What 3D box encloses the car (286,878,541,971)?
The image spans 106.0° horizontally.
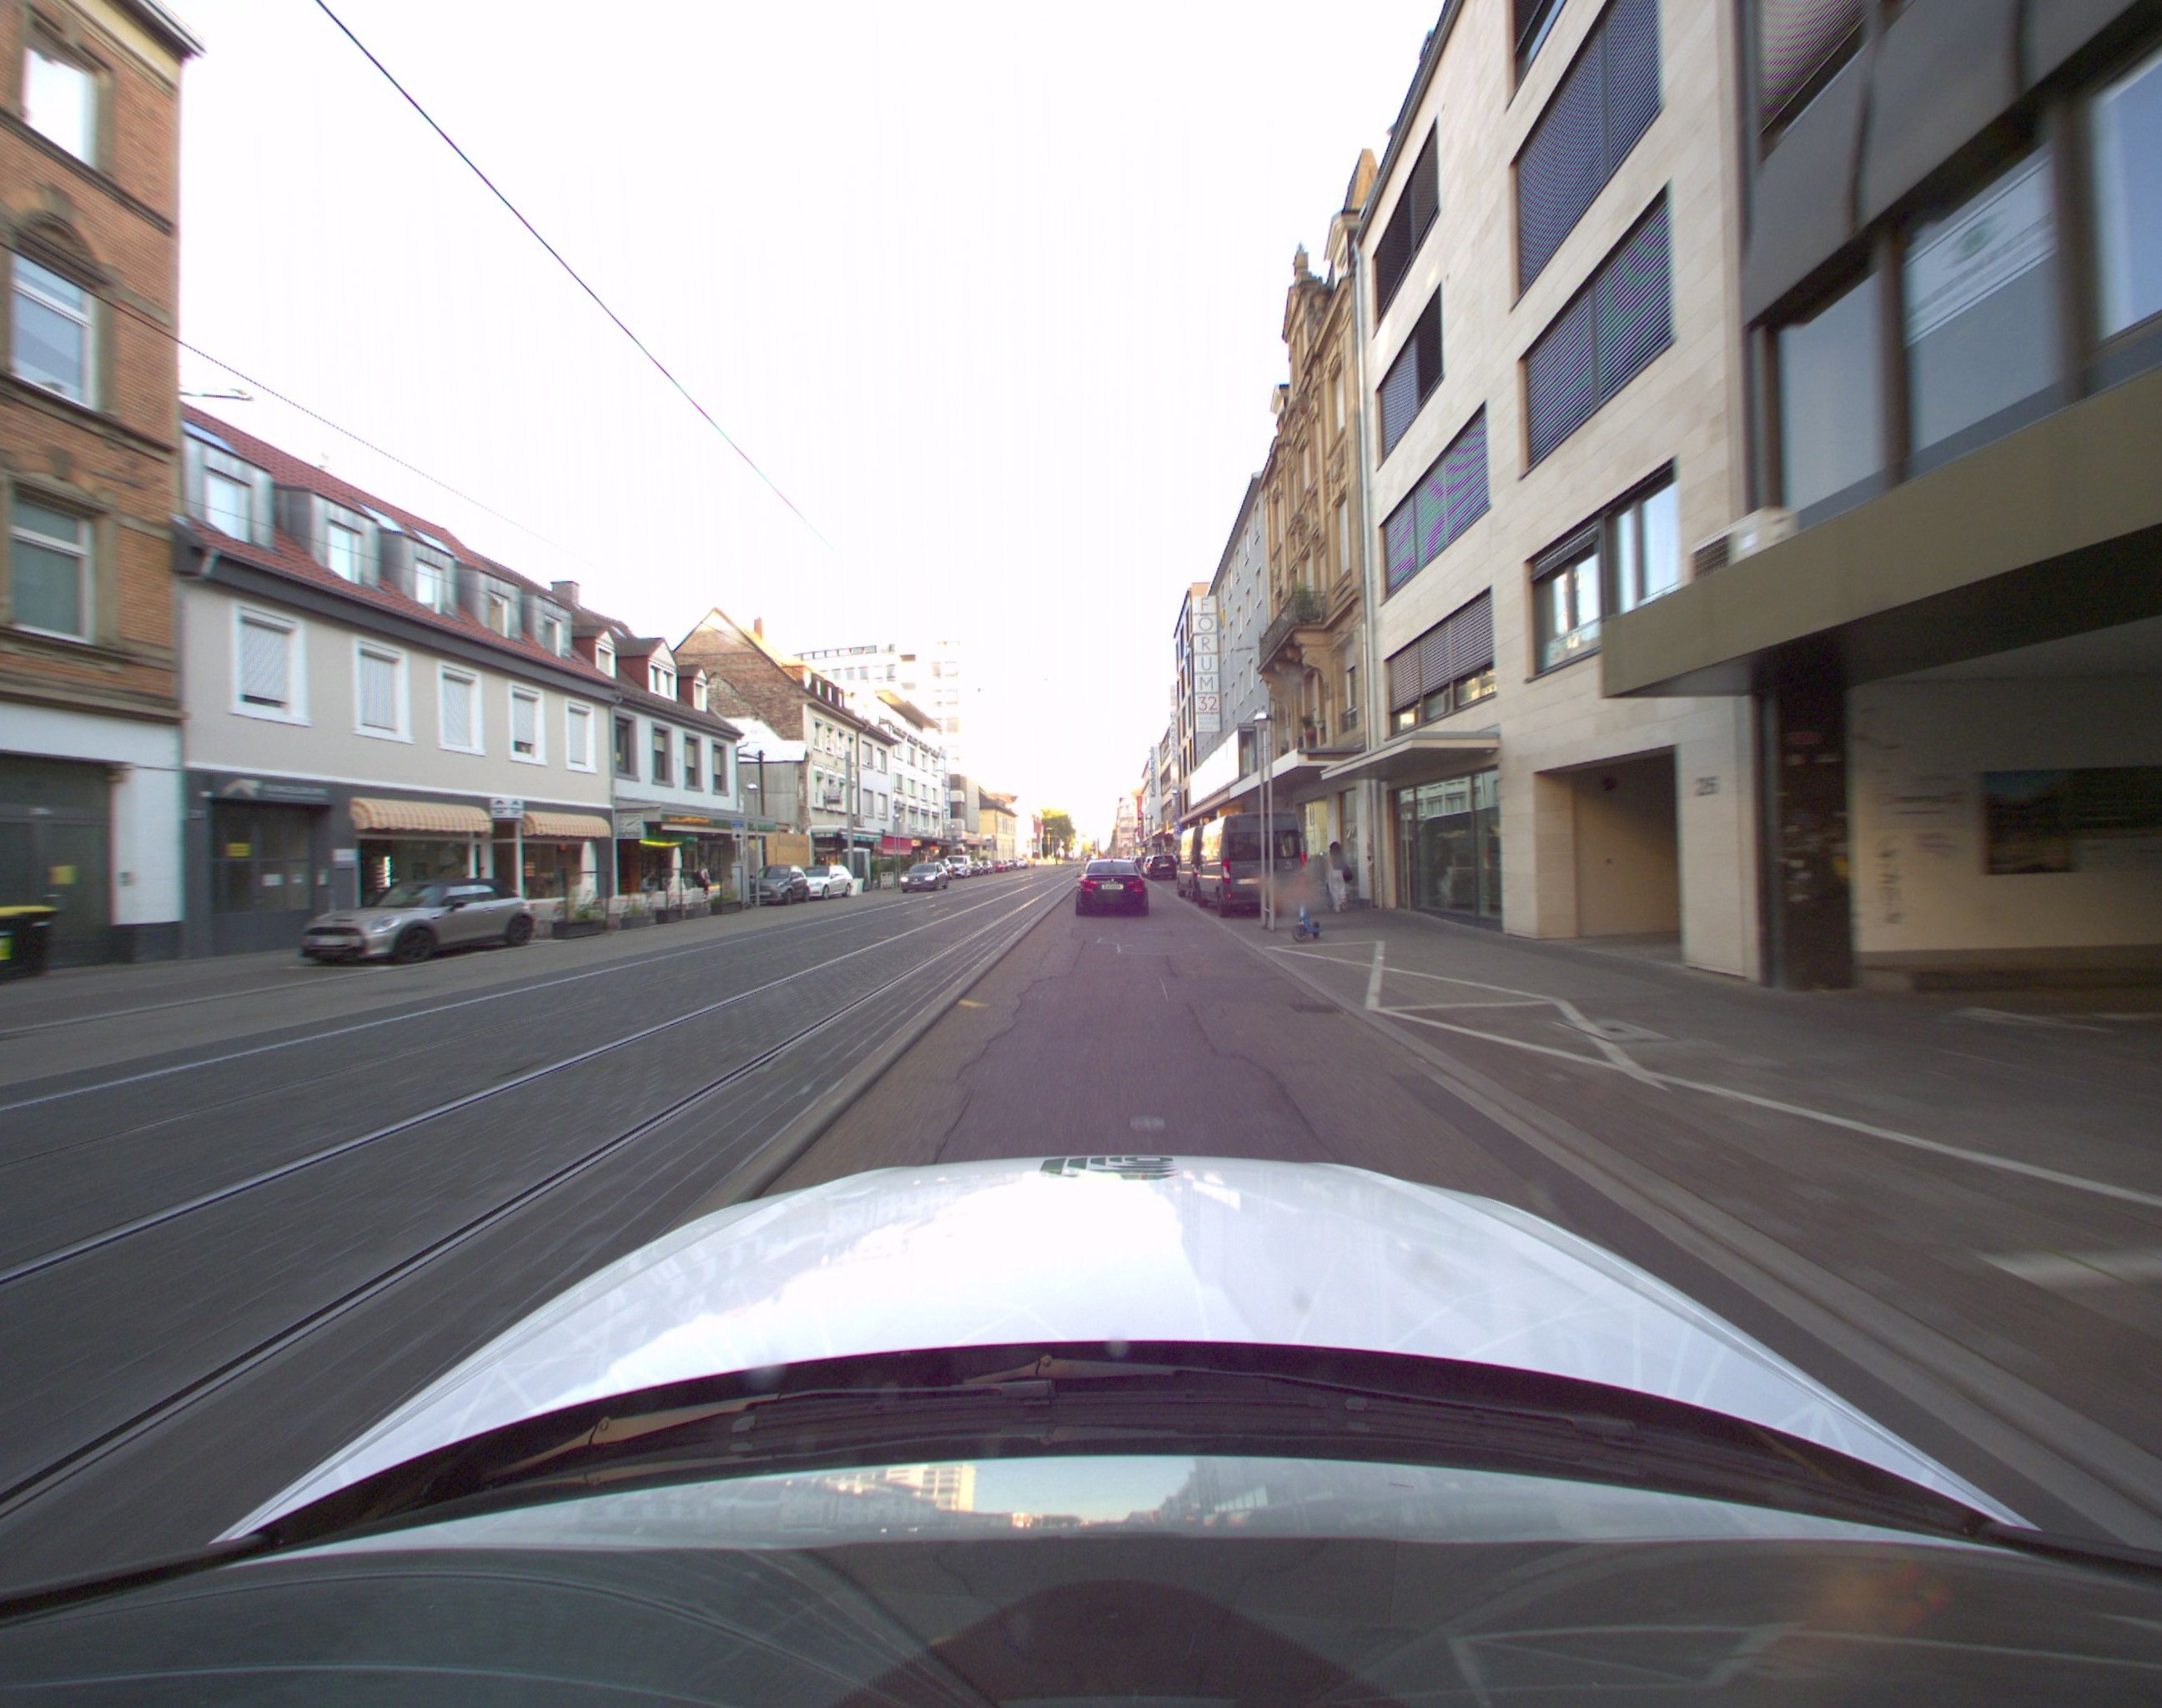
[{"bbox_3d":[-12.460,1.236,15.560,1.592,1.440,3.815,0,0,3],"label":"car"}]

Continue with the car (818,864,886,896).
[{"bbox_3d":[-11.469,1.279,41.077,1.985,1.453,4.333,-2,0,3],"label":"car"}]

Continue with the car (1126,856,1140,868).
[{"bbox_3d":[7.079,1.067,110.495,1.768,1.549,3.504,-1,-1,2],"label":"car"}]

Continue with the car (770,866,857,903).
[{"bbox_3d":[-11.698,1.288,35.966,1.985,1.453,4.825,-2,0,3],"label":"car"}]

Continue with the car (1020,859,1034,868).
[{"bbox_3d":[-8.804,1.530,133.451,1.921,1.435,4.248,0,0,2],"label":"car"}]

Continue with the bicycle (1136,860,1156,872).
[{"bbox_3d":[6.363,1.196,79.803,1.854,1.080,0.469,-1,-2,2],"label":"bicycle"}]

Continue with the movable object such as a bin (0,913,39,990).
[{"bbox_3d":[-15.446,1.388,11.524,0.516,1.043,0.660,0,0,1],"label":"movable object such as a bin"}]

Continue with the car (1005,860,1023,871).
[{"bbox_3d":[-9.296,1.577,113.478,1.921,1.435,4.248,-1,0,2],"label":"car"}]

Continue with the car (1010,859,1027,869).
[{"bbox_3d":[-9.168,1.457,119.409,1.921,1.435,4.248,0,0,2],"label":"car"}]

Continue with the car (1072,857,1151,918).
[{"bbox_3d":[0.889,0.835,22.436,1.945,1.498,4.468,0,0,3],"label":"car"}]

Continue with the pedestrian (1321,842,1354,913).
[{"bbox_3d":[6.079,0.556,19.322,0.548,1.644,0.533,-3,0,2],"label":"pedestrian"}]

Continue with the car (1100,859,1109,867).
[{"bbox_3d":[4.445,1.764,154.286,1.768,1.549,3.504,-1,-1,2],"label":"car"}]

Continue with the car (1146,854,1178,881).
[{"bbox_3d":[5.029,0.816,50.828,1.648,1.537,3.887,-3,0,1],"label":"car"}]

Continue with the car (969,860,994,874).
[{"bbox_3d":[-10.341,1.343,85.169,1.921,1.435,4.248,0,0,2],"label":"car"}]

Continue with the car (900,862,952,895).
[{"bbox_3d":[-8.014,1.218,42.489,1.686,1.453,4.464,-5,0,0],"label":"car"}]

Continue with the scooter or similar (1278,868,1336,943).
[{"bbox_3d":[3.998,0.886,14.353,0.493,1.220,1.273,-2,-1,39],"label":"scooter or similar"}]

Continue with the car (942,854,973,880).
[{"bbox_3d":[-10.637,1.118,70.649,1.988,2.156,4.908,-1,0,-1],"label":"car"}]

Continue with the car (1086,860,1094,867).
[{"bbox_3d":[2.547,2.559,225.239,1.986,1.838,4.000,-1,-3,2],"label":"car"}]

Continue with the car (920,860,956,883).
[{"bbox_3d":[-11.053,1.341,63.192,1.852,1.678,4.466,0,0,2],"label":"car"}]

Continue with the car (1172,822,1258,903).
[{"bbox_3d":[4.522,0.280,28.411,2.026,2.455,5.409,-3,0,0],"label":"car"}]

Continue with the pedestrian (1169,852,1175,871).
[{"bbox_3d":[8.574,0.721,76.909,0.506,1.792,0.760,-2,-1,2],"label":"pedestrian"}]

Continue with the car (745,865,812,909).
[{"bbox_3d":[-11.649,1.243,31.521,1.472,1.577,2.794,-2,0,0],"label":"car"}]

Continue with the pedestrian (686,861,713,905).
[{"bbox_3d":[-14.445,1.093,30.843,0.660,1.644,0.695,-1,-1,2],"label":"pedestrian"}]

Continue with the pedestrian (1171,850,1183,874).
[{"bbox_3d":[6.893,0.576,58.650,0.686,1.740,0.821,-3,-1,3],"label":"pedestrian"}]

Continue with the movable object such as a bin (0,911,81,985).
[{"bbox_3d":[-15.756,1.395,12.270,0.493,1.033,0.694,0,0,1],"label":"movable object such as a bin"}]

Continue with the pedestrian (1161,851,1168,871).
[{"bbox_3d":[7.929,0.661,77.145,0.552,1.791,0.760,-2,-1,2],"label":"pedestrian"}]

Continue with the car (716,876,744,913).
[{"bbox_3d":[-12.220,1.400,28.377,0.781,1.234,0.339,-2,-1,-1],"label":"car"}]

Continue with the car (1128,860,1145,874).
[{"bbox_3d":[6.507,1.516,95.935,1.896,1.549,3.781,-1,-1,2],"label":"car"}]

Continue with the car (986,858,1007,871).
[{"bbox_3d":[-9.820,1.240,94.946,1.921,1.435,4.248,0,0,2],"label":"car"}]

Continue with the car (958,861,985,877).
[{"bbox_3d":[-10.520,1.405,78.475,1.921,1.435,4.248,0,0,2],"label":"car"}]

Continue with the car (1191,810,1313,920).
[{"bbox_3d":[4.374,0.268,21.952,2.085,2.455,6.034,-3,0,2],"label":"car"}]

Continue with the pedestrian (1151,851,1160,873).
[{"bbox_3d":[5.785,0.640,63.072,0.555,1.647,0.760,-2,-1,1],"label":"pedestrian"}]

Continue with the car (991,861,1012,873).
[{"bbox_3d":[-9.707,1.549,99.877,1.921,1.435,4.248,0,0,2],"label":"car"}]

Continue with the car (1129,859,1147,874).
[{"bbox_3d":[6.197,1.382,88.887,1.896,1.549,4.001,-1,-1,2],"label":"car"}]

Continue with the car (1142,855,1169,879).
[{"bbox_3d":[5.093,0.875,55.989,1.554,1.442,3.710,-4,0,1],"label":"car"}]
